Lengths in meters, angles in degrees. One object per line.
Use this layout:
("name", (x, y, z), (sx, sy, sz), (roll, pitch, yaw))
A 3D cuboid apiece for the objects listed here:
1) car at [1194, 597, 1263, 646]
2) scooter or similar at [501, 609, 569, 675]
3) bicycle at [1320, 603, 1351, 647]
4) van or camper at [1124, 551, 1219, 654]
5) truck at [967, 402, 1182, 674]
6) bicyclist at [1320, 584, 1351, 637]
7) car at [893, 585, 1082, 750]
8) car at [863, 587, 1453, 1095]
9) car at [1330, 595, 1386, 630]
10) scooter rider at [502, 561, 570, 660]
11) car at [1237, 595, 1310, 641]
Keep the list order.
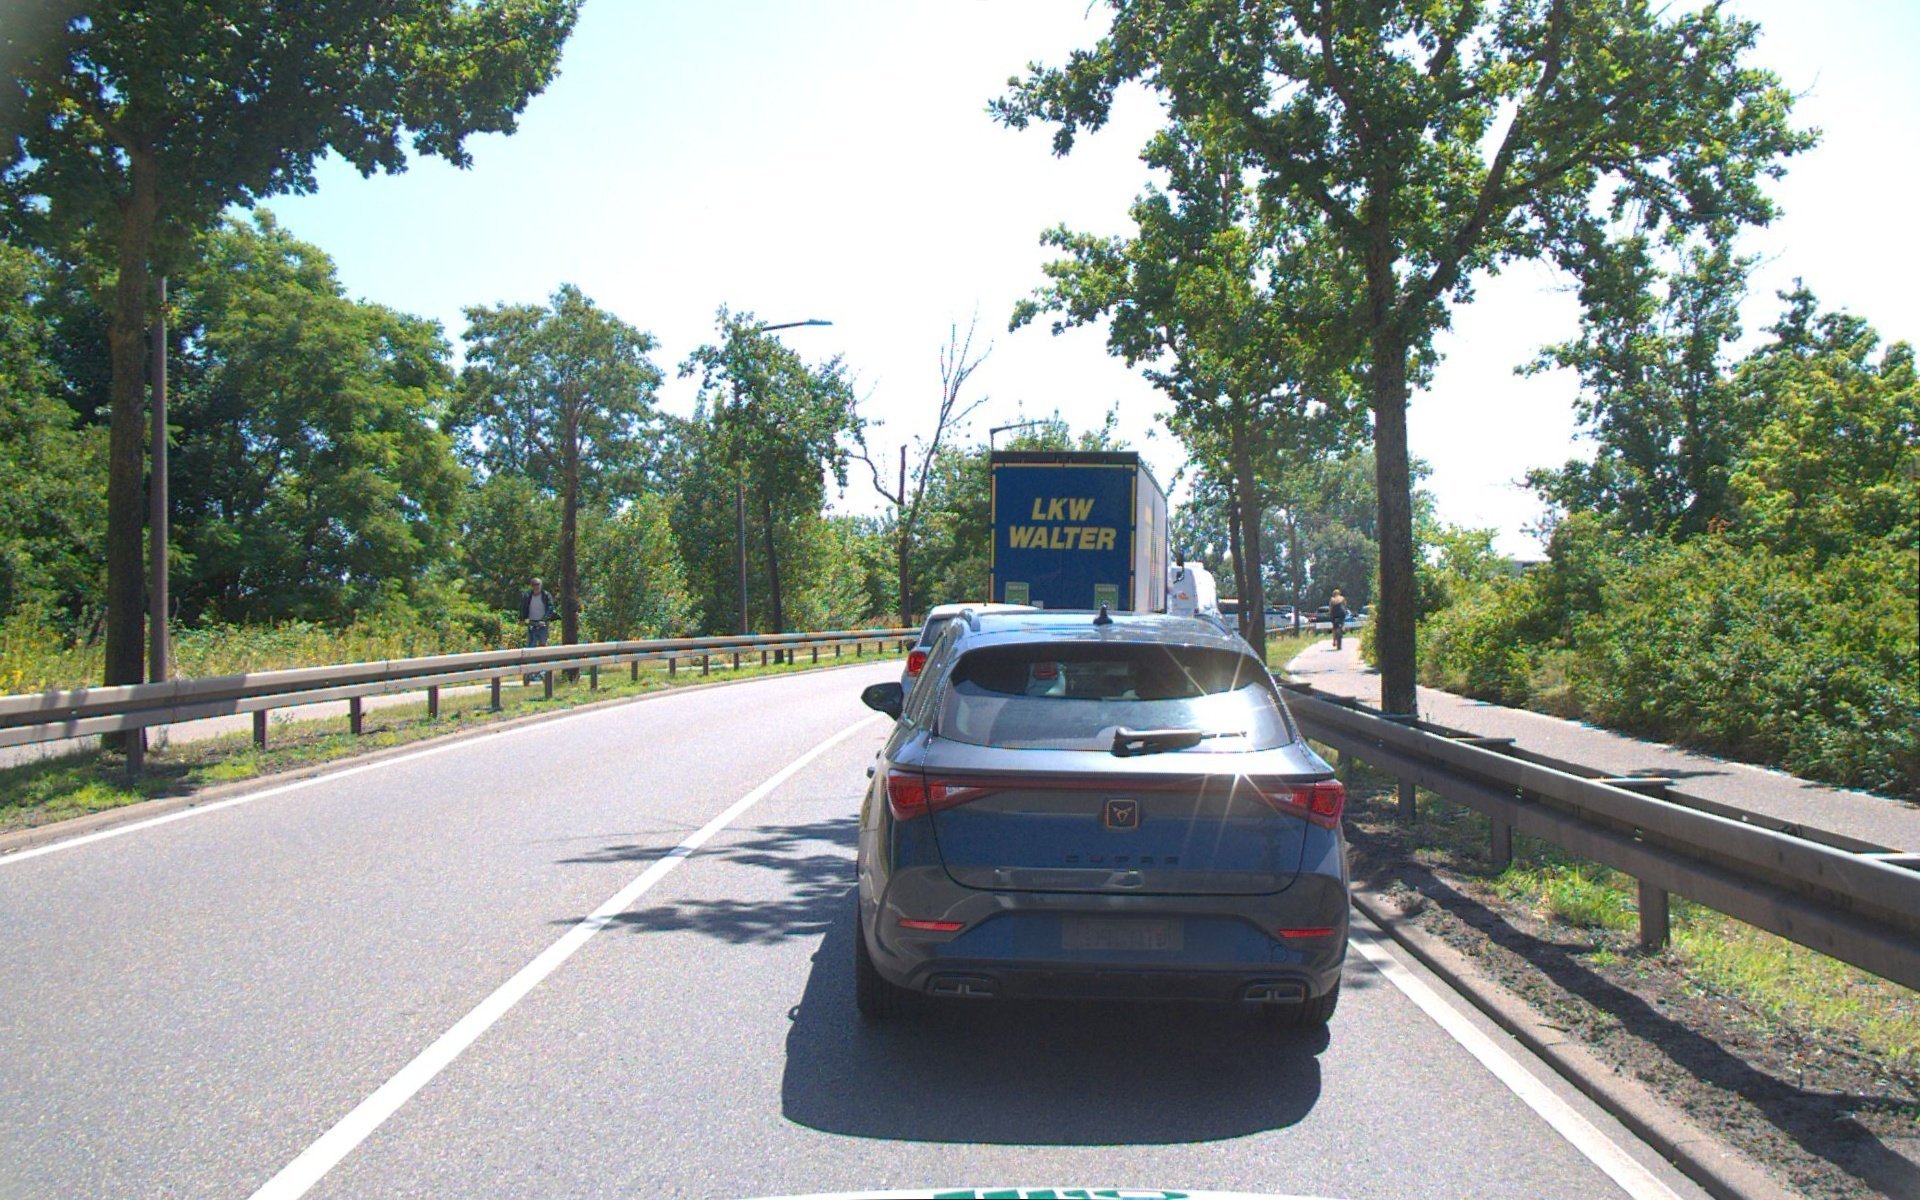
("car", (10.086, 0.791, 61.894), (1.951, 1.742, 4.622), (1, 0, 17))
("scooter or similar", (-7.432, 0.721, 28.945), (0.760, 1.110, 1.096), (1, 0, 8))
("bicycle", (11.167, 0.745, 49.215), (0.842, 1.258, 2.311), (1, 0, 12))
("van or camper", (6.796, 0.103, 52.489), (2.414, 3.051, 6.091), (1, 0, 13))
("truck", (3.020, -0.999, 36.051), (2.887, 4.527, 16.812), (1, 0, 10))
("bicyclist", (11.155, 0.324, 49.150), (0.842, 1.550, 0.981), (1, -1, 12))
("car", (0.346, 0.649, 17.669), (1.771, 1.534, 4.001), (1, 0, 2))
("car", (0.510, 0.714, 6.748), (1.709, 1.457, 3.878), (1, 0, -2))
("car", (21.200, 0.676, 87.987), (1.954, 1.799, 4.750), (1, 0, 26))
("scooter rider", (-7.408, 0.184, 28.934), (0.760, 1.686, 1.121), (1, -1, 8))
("car", (13.327, 0.769, 70.099), (1.954, 1.840, 4.843), (1, 0, 24))
